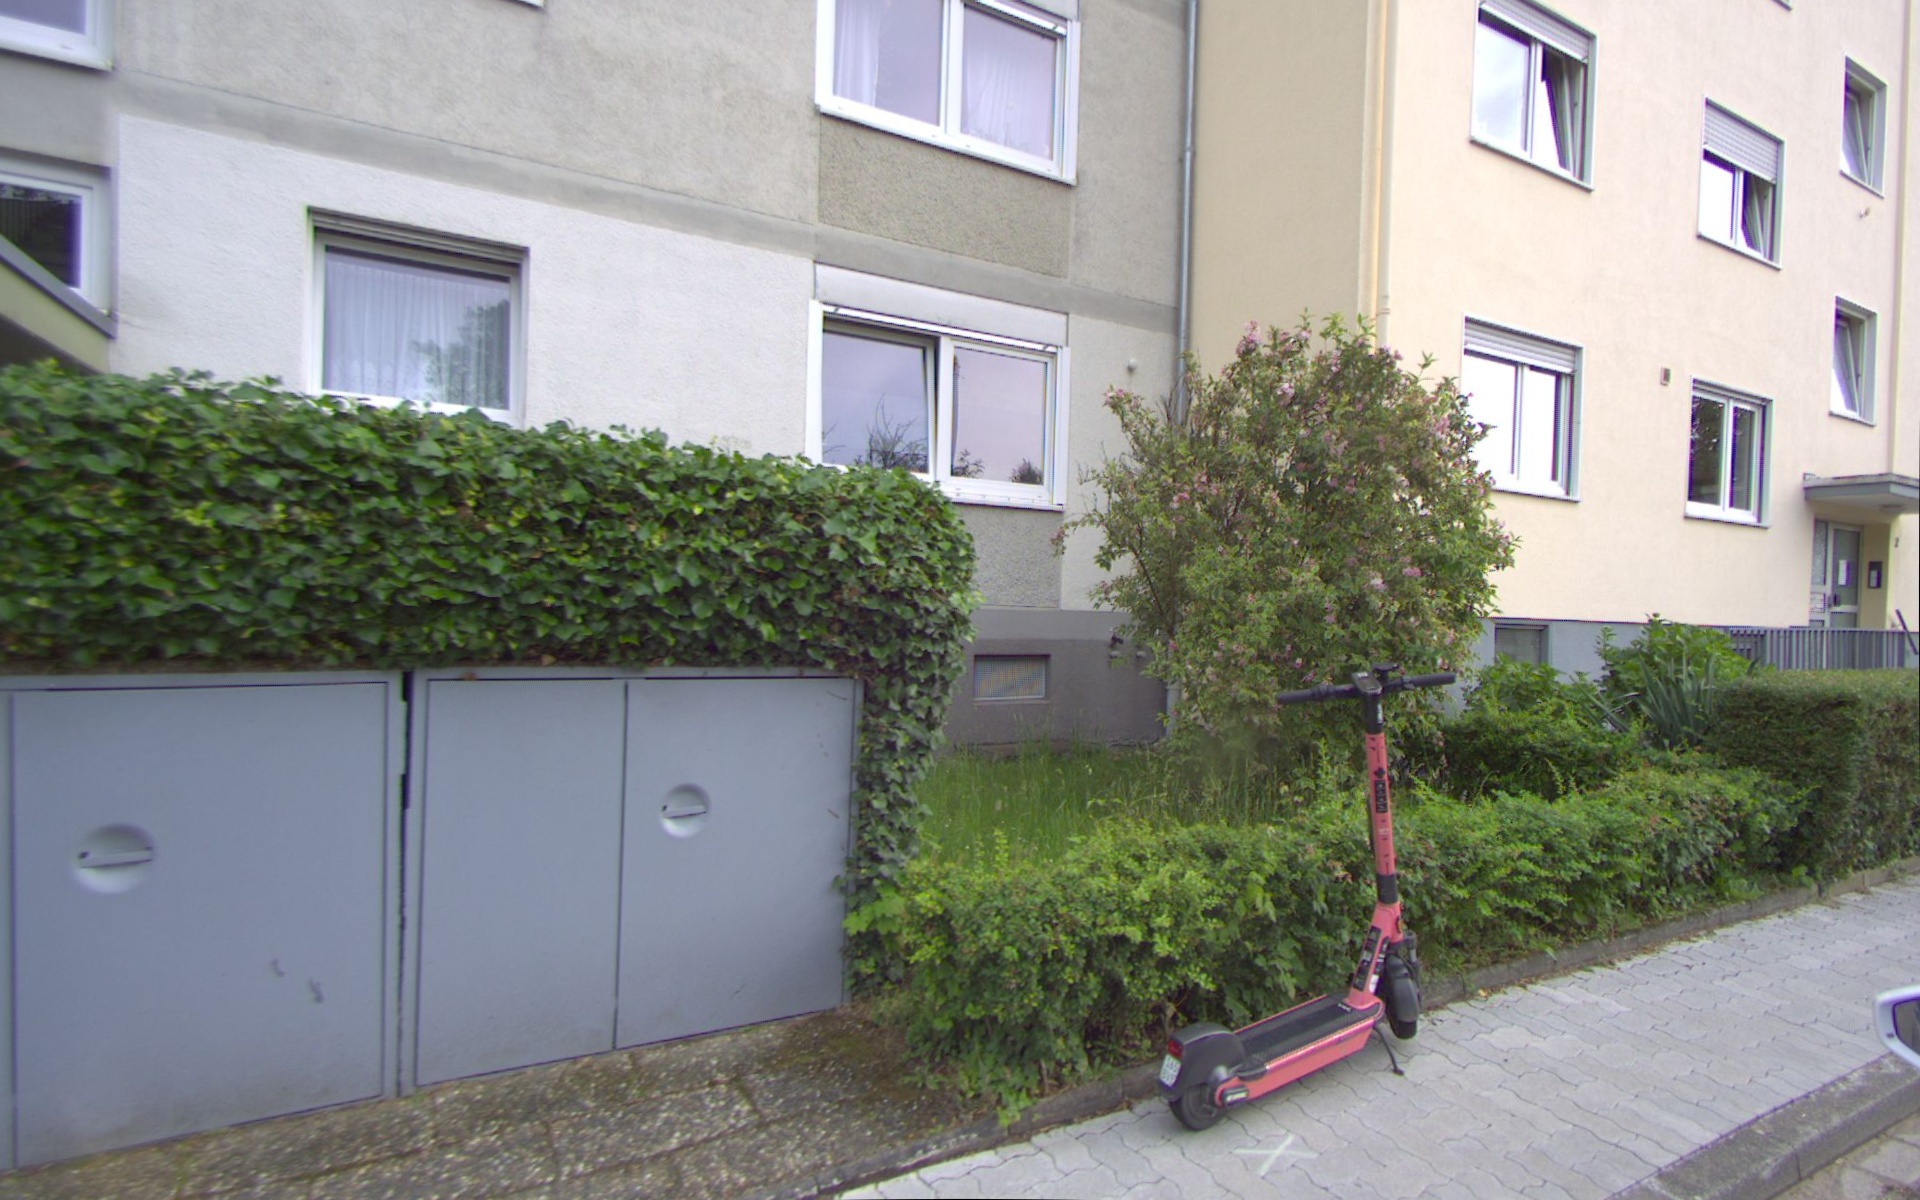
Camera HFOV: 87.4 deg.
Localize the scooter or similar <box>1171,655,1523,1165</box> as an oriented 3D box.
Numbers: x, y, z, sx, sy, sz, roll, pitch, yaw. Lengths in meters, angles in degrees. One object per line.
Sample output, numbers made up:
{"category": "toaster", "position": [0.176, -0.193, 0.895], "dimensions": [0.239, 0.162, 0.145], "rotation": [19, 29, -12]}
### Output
{"category": "scooter or similar", "position": [1.142, 0.786, 2.885], "dimensions": [1.151, 1.227, 0.271], "rotation": [1, 0, -31]}
